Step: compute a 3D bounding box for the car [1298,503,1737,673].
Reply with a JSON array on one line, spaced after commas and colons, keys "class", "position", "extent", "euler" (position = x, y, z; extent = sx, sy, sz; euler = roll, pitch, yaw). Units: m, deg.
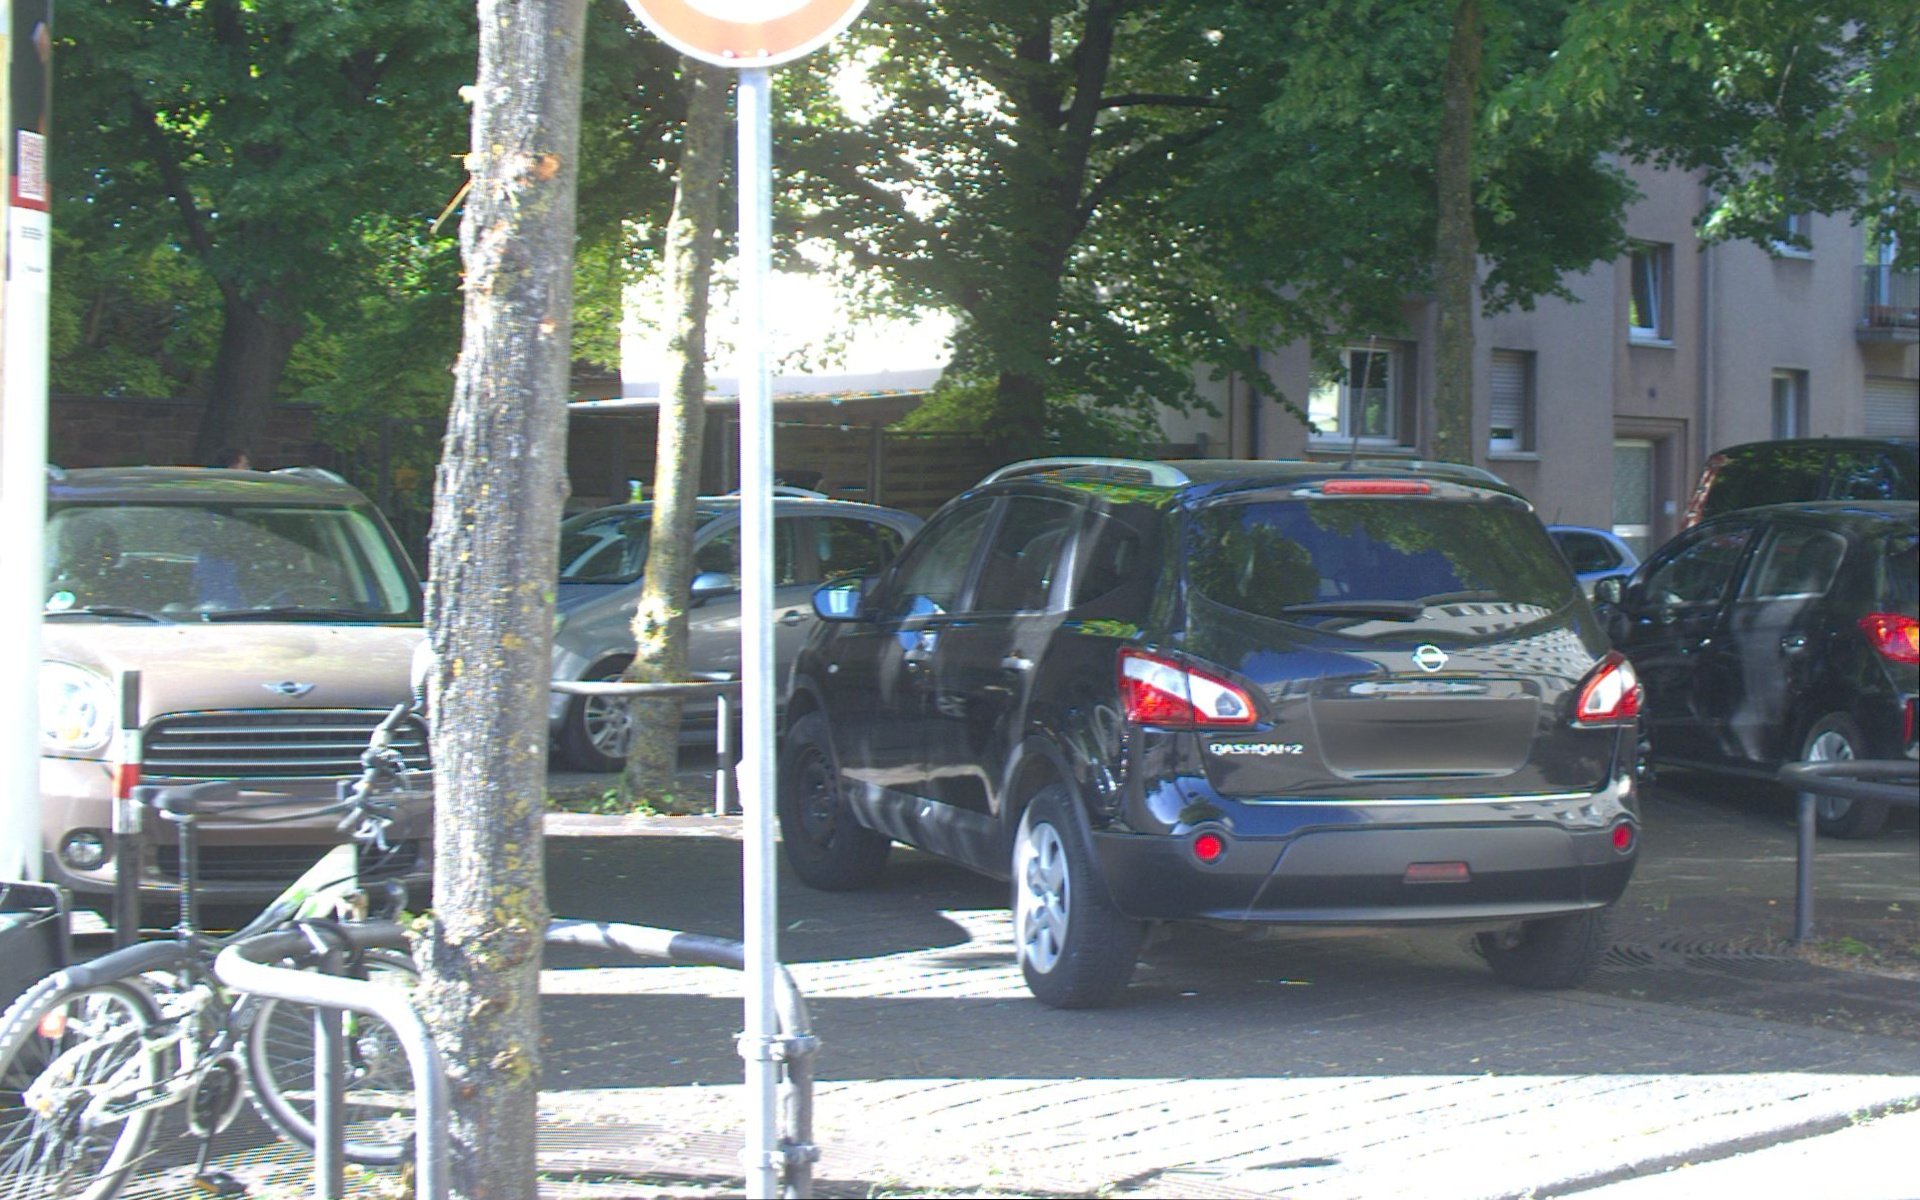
[{"class": "car", "position": [5.156, -0.151, 31.433], "extent": [1.768, 1.430, 4.332], "euler": [2, 2, 45]}]

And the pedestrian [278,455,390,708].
[{"class": "pedestrian", "position": [-4.350, -0.133, 23.862], "extent": [0.740, 1.729, 0.540], "euler": [0, 1, -13]}]

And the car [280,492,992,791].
[{"class": "car", "position": [-1.713, 0.158, 19.288], "extent": [1.758, 1.481, 3.941], "euler": [2, 2, 37]}]

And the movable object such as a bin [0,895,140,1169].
[{"class": "movable object such as a bin", "position": [-2.511, 1.040, 8.094], "extent": [0.576, 0.563, 1.112], "euler": [1, 2, 24]}]

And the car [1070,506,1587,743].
[{"class": "car", "position": [2.635, 0.107, 23.874], "extent": [1.758, 1.481, 3.941], "euler": [2, 2, 37]}]

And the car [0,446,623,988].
[{"class": "car", "position": [-2.781, 0.293, 12.394], "extent": [1.916, 1.605, 4.001], "euler": [0, 2, -25]}]

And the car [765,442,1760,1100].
[{"class": "car", "position": [0.735, 0.362, 11.443], "extent": [1.830, 1.665, 4.339], "euler": [0, 4, -16]}]

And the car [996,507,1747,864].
[{"class": "car", "position": [1.761, 0.295, 16.088], "extent": [1.815, 1.417, 3.950], "euler": [0, 2, -22]}]

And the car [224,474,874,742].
[{"class": "car", "position": [-2.688, -0.005, 23.235], "extent": [1.758, 1.634, 4.236], "euler": [2, 2, 42]}]

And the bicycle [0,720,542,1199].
[{"class": "bicycle", "position": [-1.524, 0.826, 7.121], "extent": [0.353, 1.068, 1.589], "euler": [1, 2, 34]}]

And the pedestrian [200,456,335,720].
[{"class": "pedestrian", "position": [-4.625, -0.092, 22.962], "extent": [0.742, 1.729, 0.538], "euler": [2, 2, 40]}]

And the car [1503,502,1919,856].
[{"class": "car", "position": [4.271, 0.281, 16.533], "extent": [1.755, 1.476, 3.825], "euler": [0, 2, -17]}]

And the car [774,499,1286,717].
[{"class": "car", "position": [0.604, 0.010, 26.859], "extent": [1.758, 1.564, 3.939], "euler": [2, 2, 45]}]

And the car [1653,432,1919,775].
[{"class": "car", "position": [5.893, -0.021, 20.178], "extent": [1.929, 1.867, 4.505], "euler": [0, 2, -12]}]
